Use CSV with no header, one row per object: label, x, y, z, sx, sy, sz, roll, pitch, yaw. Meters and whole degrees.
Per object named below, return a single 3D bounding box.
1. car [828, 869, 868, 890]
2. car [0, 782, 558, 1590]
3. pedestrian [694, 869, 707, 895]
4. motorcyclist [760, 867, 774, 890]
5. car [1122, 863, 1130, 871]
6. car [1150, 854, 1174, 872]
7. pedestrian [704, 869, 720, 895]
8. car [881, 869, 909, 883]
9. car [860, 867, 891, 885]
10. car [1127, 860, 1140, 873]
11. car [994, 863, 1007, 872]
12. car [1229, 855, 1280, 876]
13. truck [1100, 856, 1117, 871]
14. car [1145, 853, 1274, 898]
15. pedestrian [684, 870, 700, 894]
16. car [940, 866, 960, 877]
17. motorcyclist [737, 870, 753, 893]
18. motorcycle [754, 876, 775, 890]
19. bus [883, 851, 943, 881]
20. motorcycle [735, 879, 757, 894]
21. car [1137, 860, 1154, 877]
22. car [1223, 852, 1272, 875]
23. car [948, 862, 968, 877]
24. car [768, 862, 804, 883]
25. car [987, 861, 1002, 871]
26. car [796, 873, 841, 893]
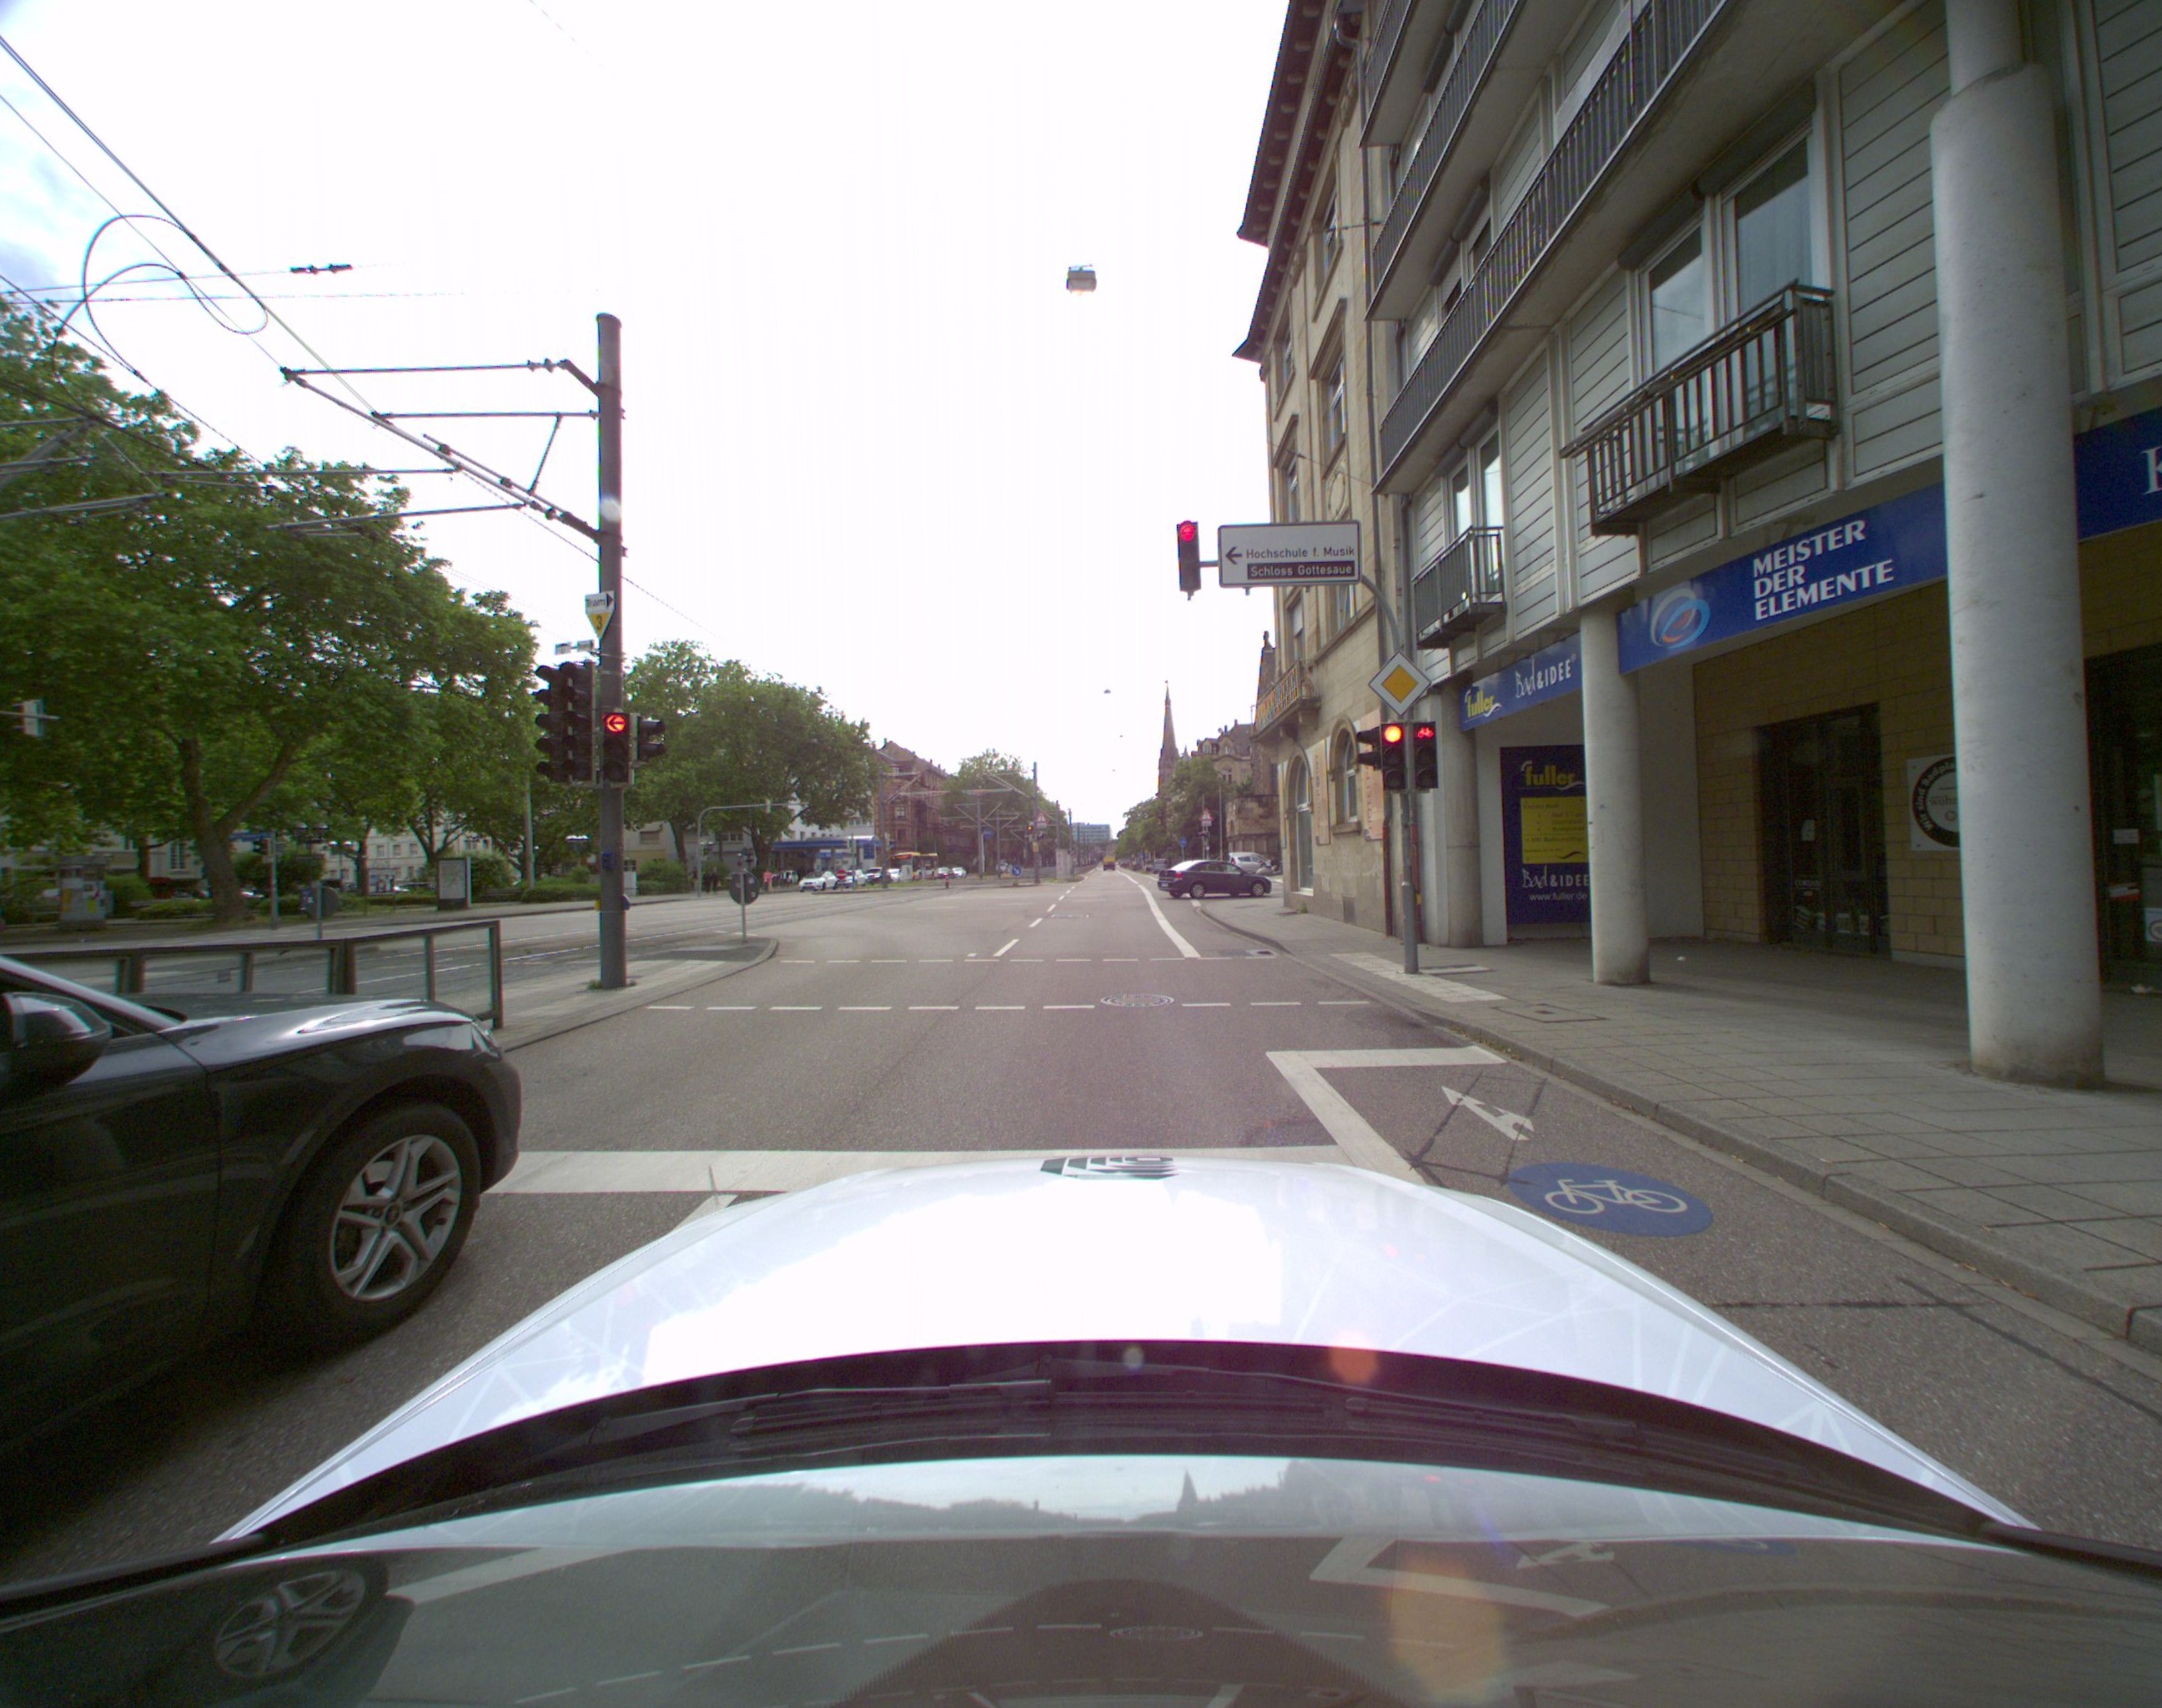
car,-18.841,2.070,66.074,1.986,1.594,4.001,0,-1,2
car,-3.072,0.675,1.226,1.727,1.637,4.228,0,-1,2
pedestrian,-25.489,1.858,54.503,0.691,1.713,0.863,-1,-1,-22
motorcyclist,-21.602,1.667,56.047,0.617,1.520,0.874,-2,-1,2
car,11.927,3.392,216.782,1.986,2.014,4.001,0,-1,2
car,8.978,0.995,89.947,1.979,1.855,4.042,-1,-1,14
pedestrian,-24.849,1.887,54.866,0.876,1.713,0.867,-1,-1,-23
car,-18.154,2.116,79.638,1.649,1.321,3.641,0,-1,3
car,-18.327,1.944,72.717,1.649,1.478,3.641,0,-1,3
car,8.697,2.065,135.974,1.986,2.014,4.001,0,-1,2
car,-14.790,2.466,149.700,1.986,1.610,4.001,0,-1,2
car,13.749,0.908,64.724,3.699,1.563,2.001,0,-1,2
truck,5.416,1.838,158.128,3.042,2.769,9.823,-2,0,3
car,4.961,0.799,31.361,4.541,1.563,1.985,-1,0,-23
pedestrian,-27.563,1.952,57.710,0.680,1.690,0.743,0,-1,6
car,-16.502,2.208,102.796,1.649,1.321,3.641,0,-1,3
motorcyclist,-22.685,1.822,54.988,0.617,1.520,0.874,-2,-1,2
motorcycle,-21.642,1.972,55.712,0.604,0.928,1.953,-2,-1,2
bus,-18.295,1.316,89.715,3.217,3.035,12.323,0,0,4
motorcycle,-22.670,2.193,55.156,0.604,0.928,1.953,-2,-1,2
car,7.896,1.706,99.599,1.985,2.014,4.004,0,-1,4
car,13.929,0.792,68.233,3.699,1.855,2.001,0,-1,2
car,-16.719,2.086,110.932,1.986,2.014,4.001,0,-1,2
car,-29.738,1.828,82.178,1.986,2.014,4.001,-2,0,2
car,-15.044,2.085,142.089,1.986,1.610,4.001,0,-1,2
car,-19.161,2.090,59.571,1.739,1.321,4.079,0,-1,4
